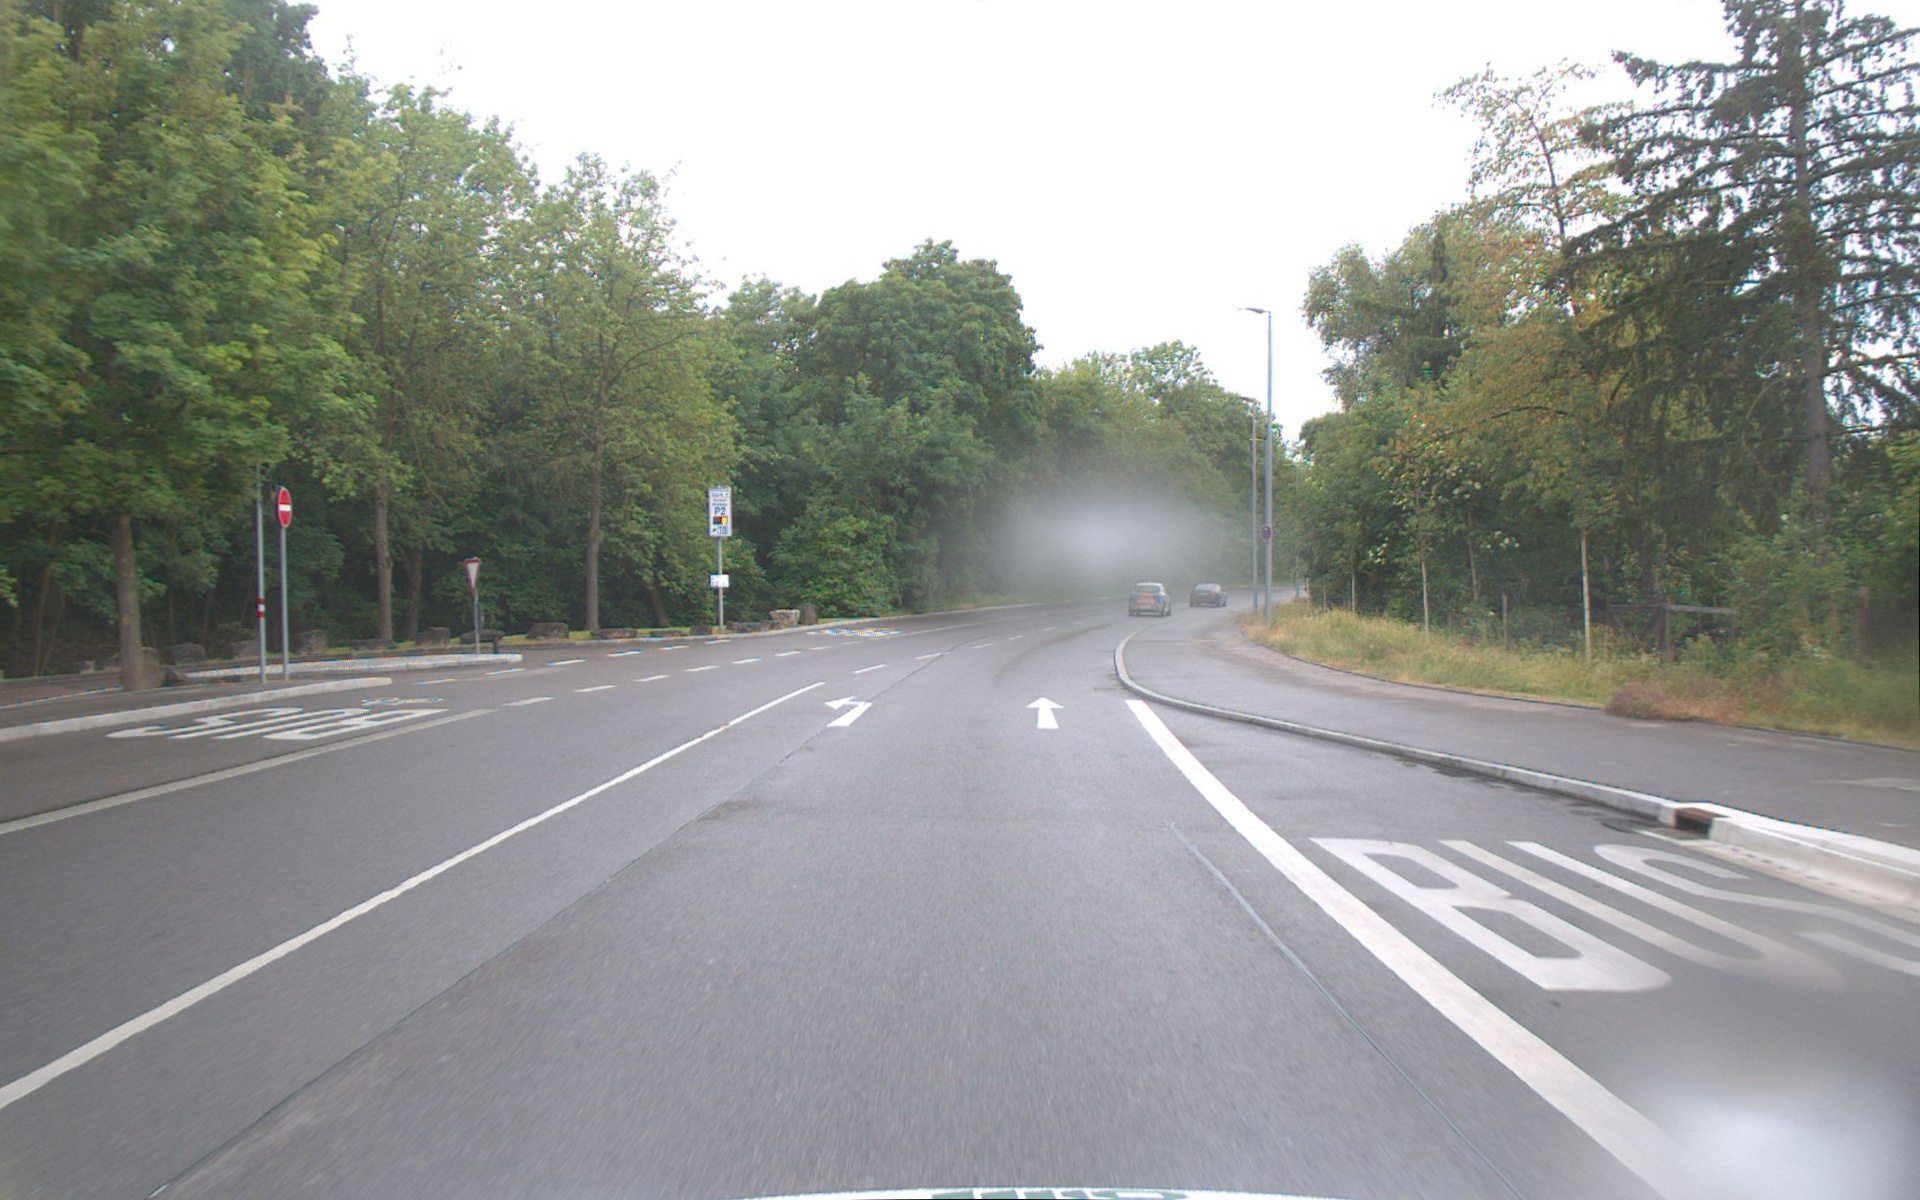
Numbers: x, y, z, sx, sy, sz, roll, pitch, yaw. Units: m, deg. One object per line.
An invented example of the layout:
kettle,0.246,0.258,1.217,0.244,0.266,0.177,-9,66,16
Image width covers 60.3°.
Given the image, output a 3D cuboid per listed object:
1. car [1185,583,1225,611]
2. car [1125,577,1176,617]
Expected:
car,14.653,-0.196,98.892,1.886,1.512,3.803,-1,2,15
car,9.111,-0.158,78.879,1.951,1.718,4.004,-1,2,13
